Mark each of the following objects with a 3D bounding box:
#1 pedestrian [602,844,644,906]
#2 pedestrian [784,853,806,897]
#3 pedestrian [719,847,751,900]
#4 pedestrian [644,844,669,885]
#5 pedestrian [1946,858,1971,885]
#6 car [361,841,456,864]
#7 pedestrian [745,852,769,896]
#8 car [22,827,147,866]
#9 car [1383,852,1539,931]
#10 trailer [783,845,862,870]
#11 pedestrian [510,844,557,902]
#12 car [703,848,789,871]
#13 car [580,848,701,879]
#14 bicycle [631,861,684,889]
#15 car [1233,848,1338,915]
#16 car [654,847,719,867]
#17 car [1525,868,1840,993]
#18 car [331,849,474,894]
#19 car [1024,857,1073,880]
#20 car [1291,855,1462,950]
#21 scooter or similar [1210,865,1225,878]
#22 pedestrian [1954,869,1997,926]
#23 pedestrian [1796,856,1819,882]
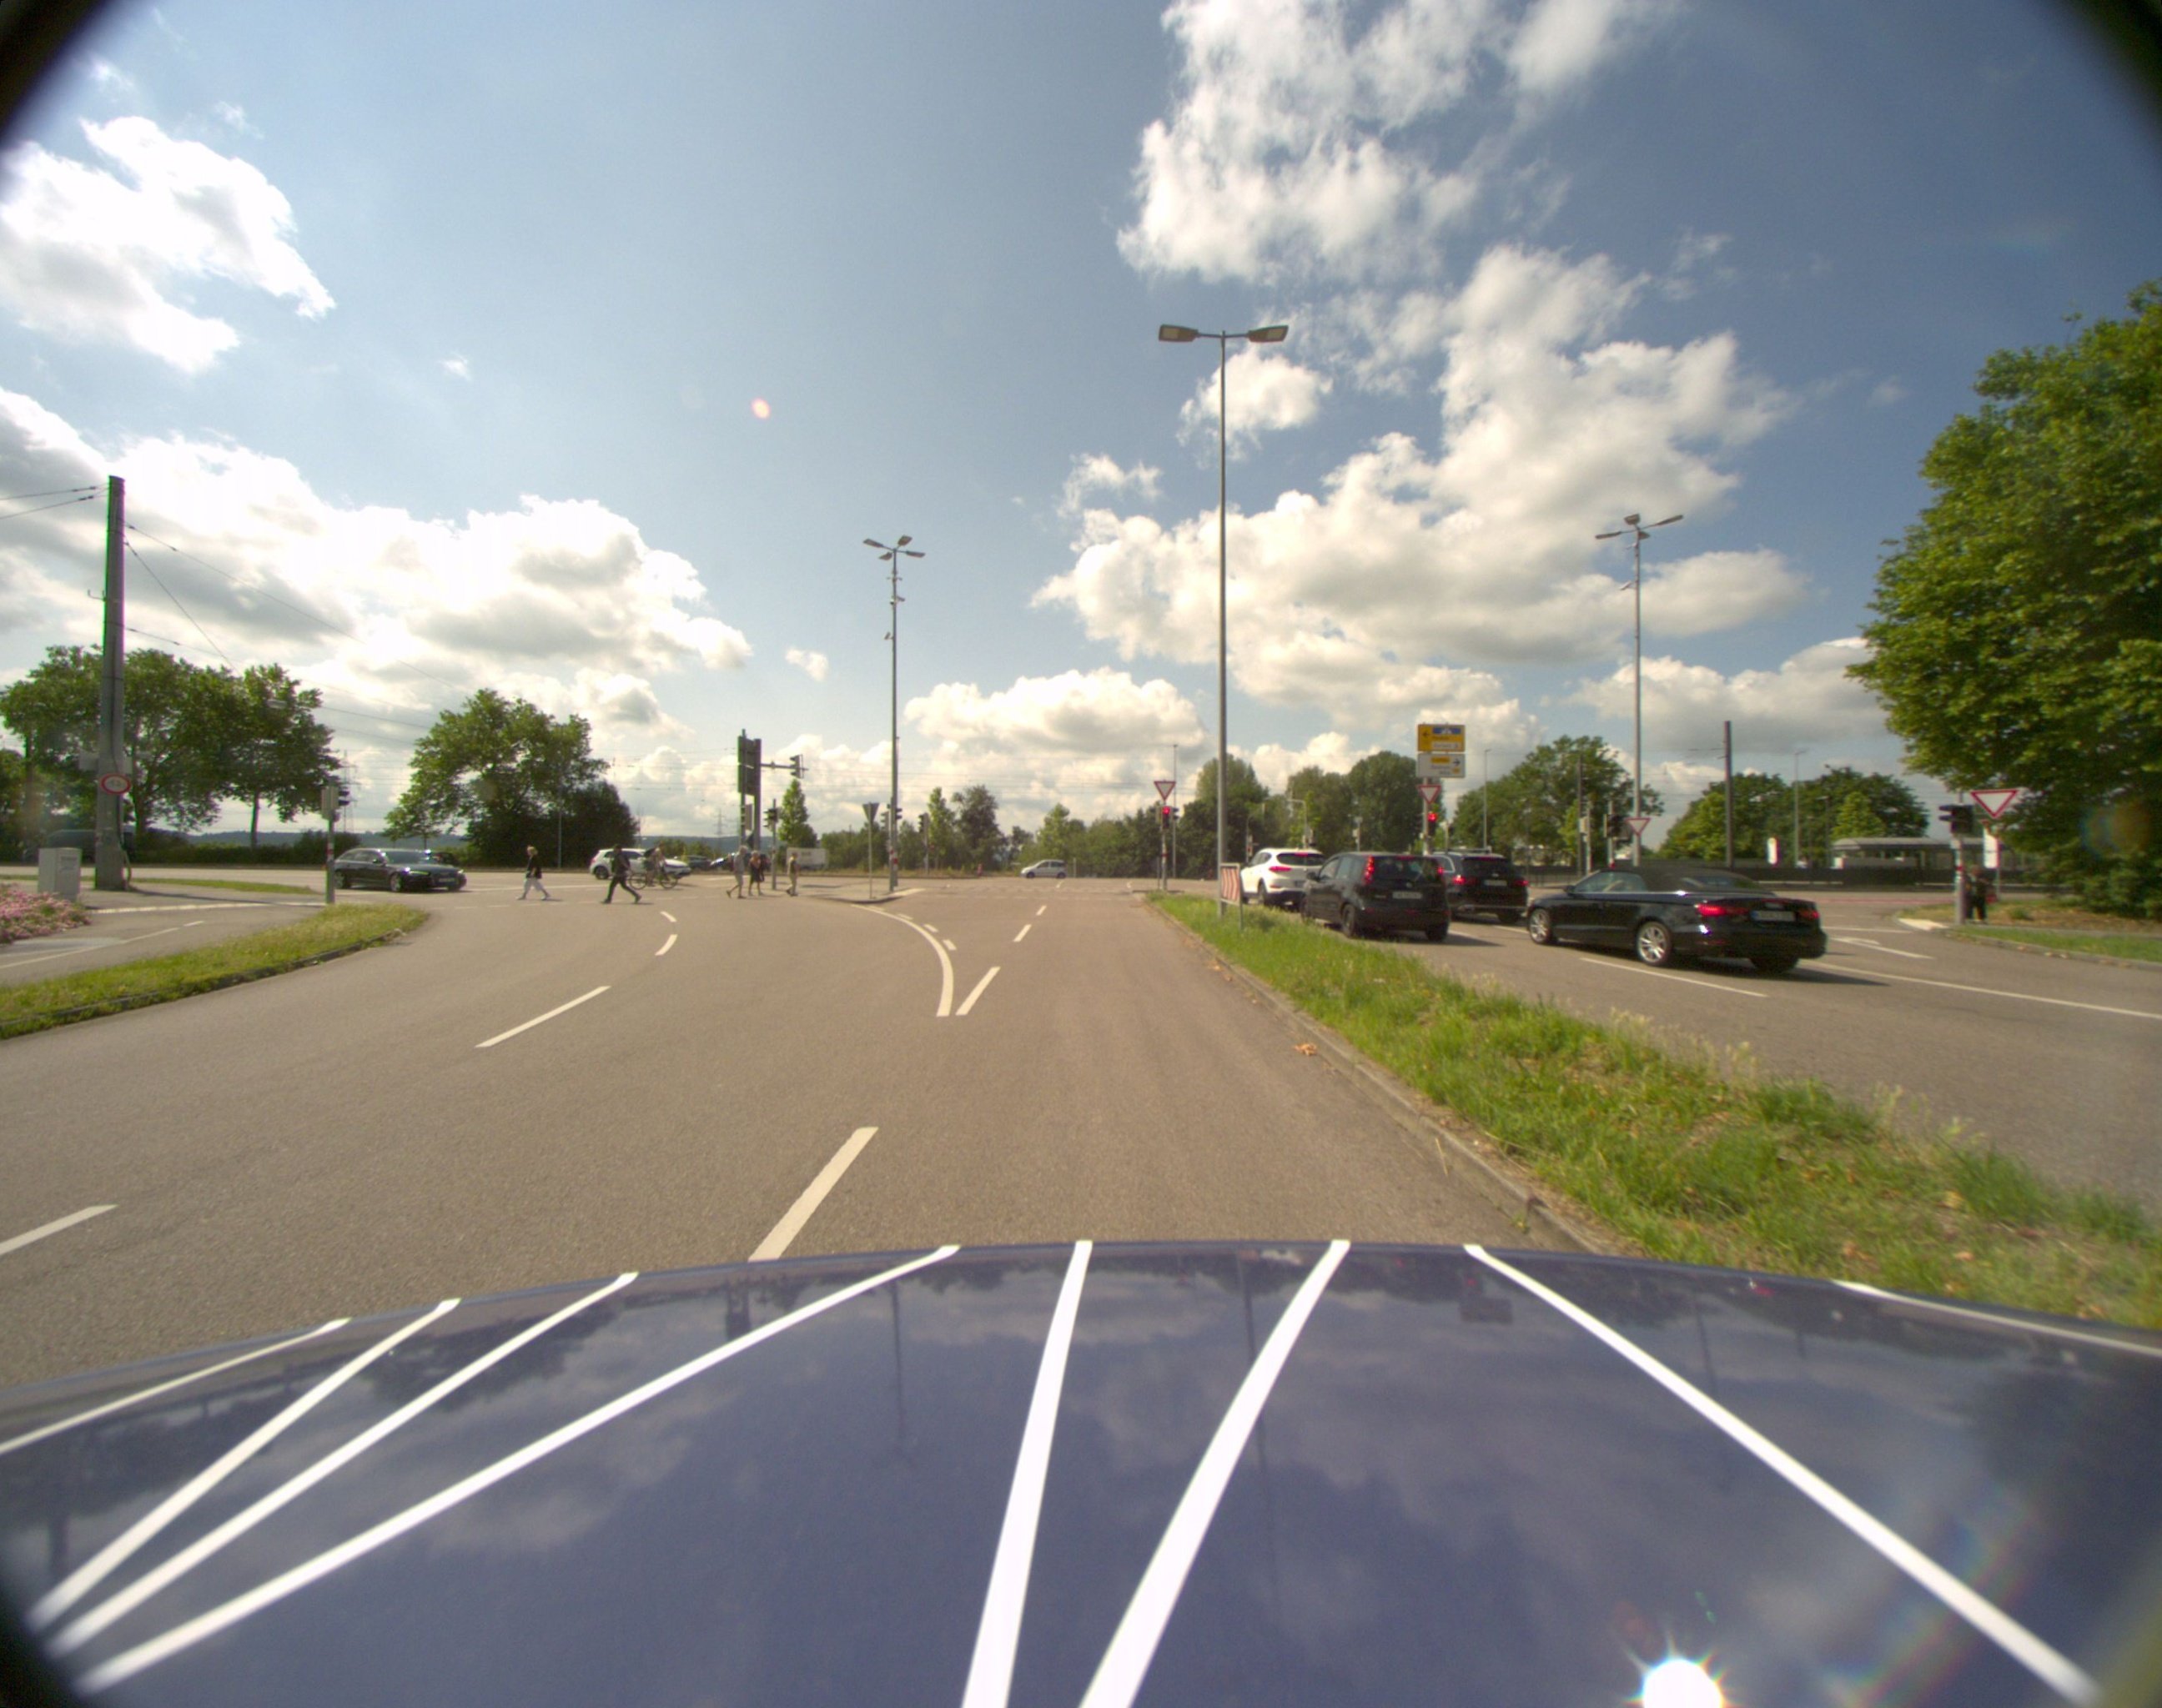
[{"bbox_3d":[-13.702,0.622,22.737,0.820,1.792,0.761,0,0,28],"label":"pedestrian"},{"bbox_3d":[-9.946,0.722,26.435,0.556,1.515,0.470,-1,-1,10],"label":"pedestrian"},{"bbox_3d":[-11.403,0.637,25.067,0.688,1.718,0.701,1,1,12],"label":"pedestrian"},{"bbox_3d":[-16.144,0.404,28.902,0.505,1.527,0.687,-1,-1,41],"label":"pedestrian"},{"bbox_3d":[59.278,1.178,51.341,0.792,1.842,0.761,1,0,-7],"label":"pedestrian"},{"bbox_3d":[-48.818,-0.080,55.254,4.782,1.499,1.966,1,-2,-8],"label":"car"},{"bbox_3d":[-11.274,0.686,26.445,0.584,1.515,0.469,0,1,10],"label":"pedestrian"},{"bbox_3d":[-70.811,-0.511,54.067,5.674,2.588,1.993,1,-3,-4],"label":"car"},{"bbox_3d":[9.067,0.811,18.544,1.775,1.606,3.999,2,1,0],"label":"car"},{"bbox_3d":[-18.824,0.242,55.452,5.182,1.820,1.824,0,0,-7],"label":"trailer"},{"bbox_3d":[-17.084,0.578,23.729,0.860,1.755,0.867,0,1,28],"label":"pedestrian"},{"bbox_3d":[-24.052,0.427,54.733,5.251,1.564,1.999,-1,-1,-7],"label":"car"},{"bbox_3d":[-20.532,0.436,35.565,4.495,1.404,2.014,0,0,-2],"label":"car"},{"bbox_3d":[-16.111,0.795,28.919,0.506,1.041,1.699,-1,-1,41],"label":"bicycle"},{"bbox_3d":[5.535,0.670,21.153,1.712,1.610,4.377,2,1,0],"label":"car"},{"bbox_3d":[-29.985,0.235,57.843,4.068,1.439,1.729,0,0,-5],"label":"car"},{"bbox_3d":[8.459,0.966,11.228,1.415,1.383,4.096,2,0,1],"label":"car"},{"bbox_3d":[-23.753,0.574,26.630,4.192,1.474,1.919,0,0,19],"label":"car"},{"bbox_3d":[-2.494,1.100,57.976,3.491,1.448,1.699,-3,2,-7],"label":"car"},{"bbox_3d":[5.360,0.796,14.392,1.608,1.484,4.132,2,0,0],"label":"car"},{"bbox_3d":[12.368,1.590,68.820,1.249,1.092,0.343,-1,-1,-2],"label":"scooter or similar"},{"bbox_3d":[23.914,1.155,20.312,0.439,1.481,0.619,0,0,-16],"label":"pedestrian"},{"bbox_3d":[48.253,0.989,50.450,0.792,1.698,0.761,1,0,-4],"label":"pedestrian"}]
